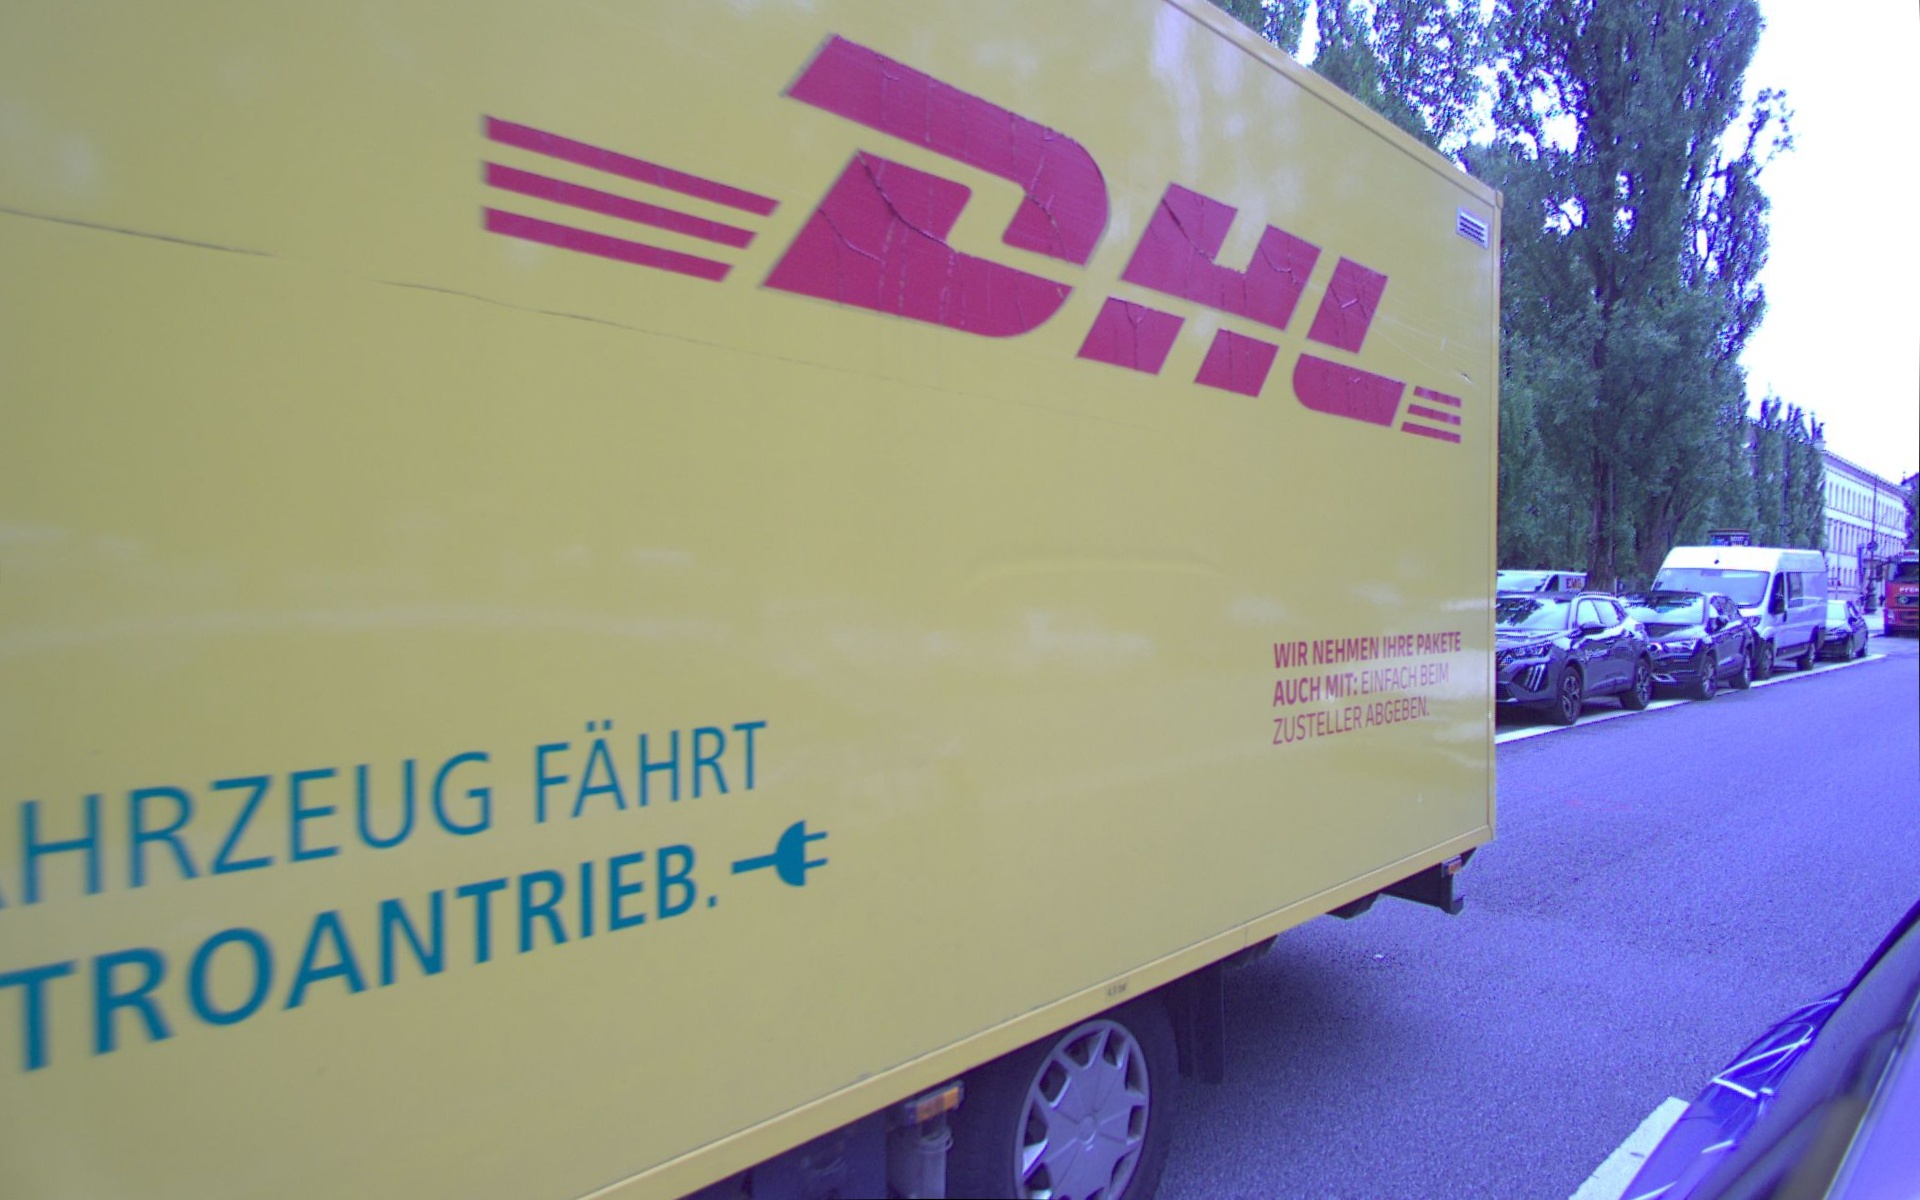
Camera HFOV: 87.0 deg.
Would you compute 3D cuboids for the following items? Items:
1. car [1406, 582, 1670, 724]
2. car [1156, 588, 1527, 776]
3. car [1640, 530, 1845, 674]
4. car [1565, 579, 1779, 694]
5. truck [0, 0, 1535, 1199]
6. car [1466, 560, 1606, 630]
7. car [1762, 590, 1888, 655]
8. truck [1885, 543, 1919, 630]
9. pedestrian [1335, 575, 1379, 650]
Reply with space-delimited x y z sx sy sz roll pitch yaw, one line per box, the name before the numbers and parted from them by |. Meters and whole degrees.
car | 7.409 0.551 12.810 4.042 1.522 1.654 0 1 -41
car | 3.854 0.634 9.883 4.076 1.464 1.636 0 0 -41
car | 15.959 0.016 20.484 6.173 2.510 2.078 0 1 -41
car | 11.406 0.479 16.115 4.149 1.610 1.824 0 1 -41
truck | -1.496 -0.095 1.972 7.206 2.934 2.331 0 1 -42
car | 17.401 -0.186 30.487 4.992 1.970 1.998 0 2 -40
car | 21.210 0.504 24.772 3.930 1.468 1.757 0 -1 -41
truck | 38.973 -0.473 39.584 10.241 3.148 2.720 0 2 -40
pedestrian | 9.095 0.279 23.180 0.622 1.680 0.716 0 1 -40
